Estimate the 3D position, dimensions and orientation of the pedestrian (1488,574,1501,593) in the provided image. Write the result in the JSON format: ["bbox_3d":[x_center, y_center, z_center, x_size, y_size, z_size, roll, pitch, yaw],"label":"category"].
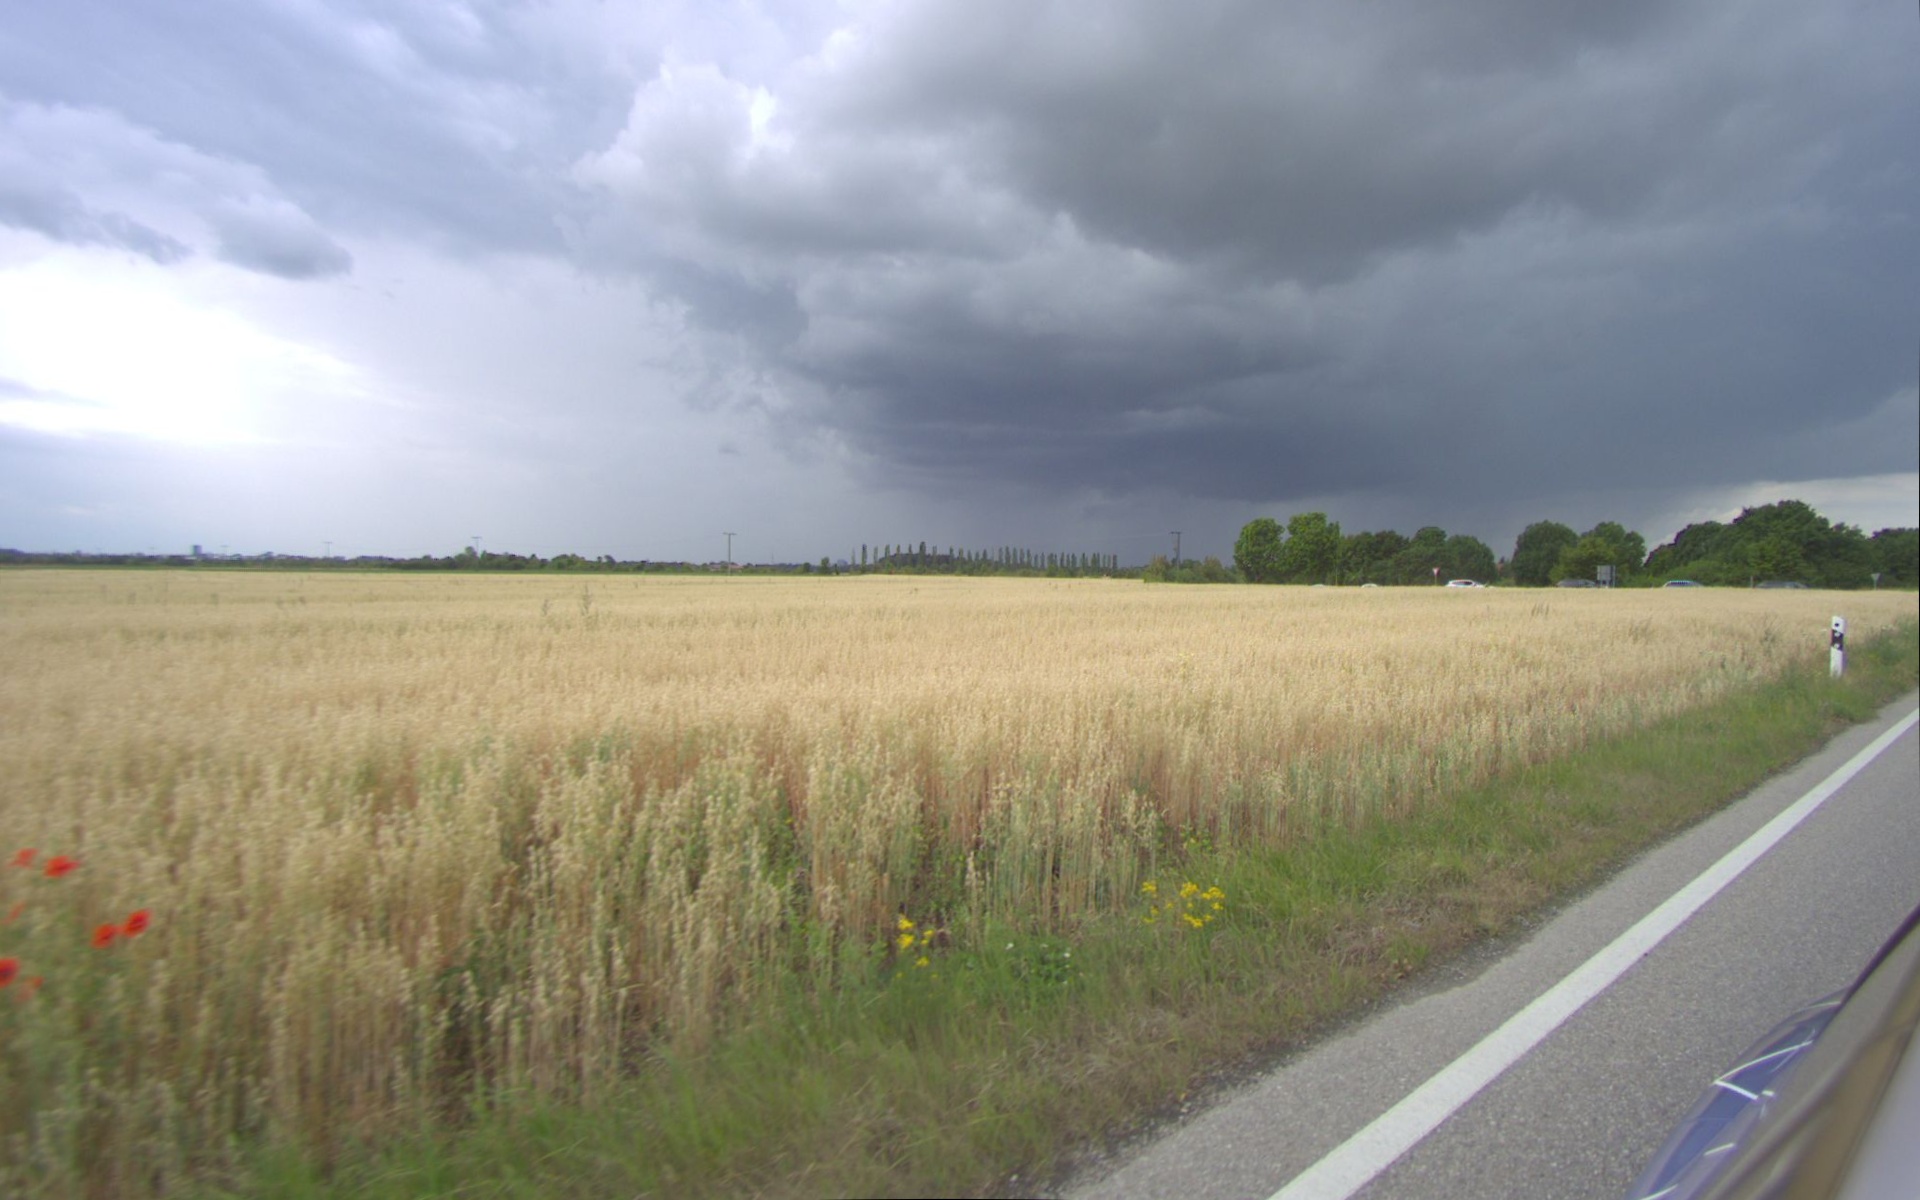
[{"bbox_3d":[46.954,-1.429,88.882,0.939,1.631,0.763,1,1,36],"label":"pedestrian"}]

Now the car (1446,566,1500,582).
[{"bbox_3d":[51.698,-2.662,102.051,1.690,1.512,4.639,-3,3,-35],"label":"car"}]

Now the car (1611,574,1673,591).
[{"bbox_3d":[60.643,-1.576,90.025,1.690,1.370,4.214,0,2,-36],"label":"car"}]
